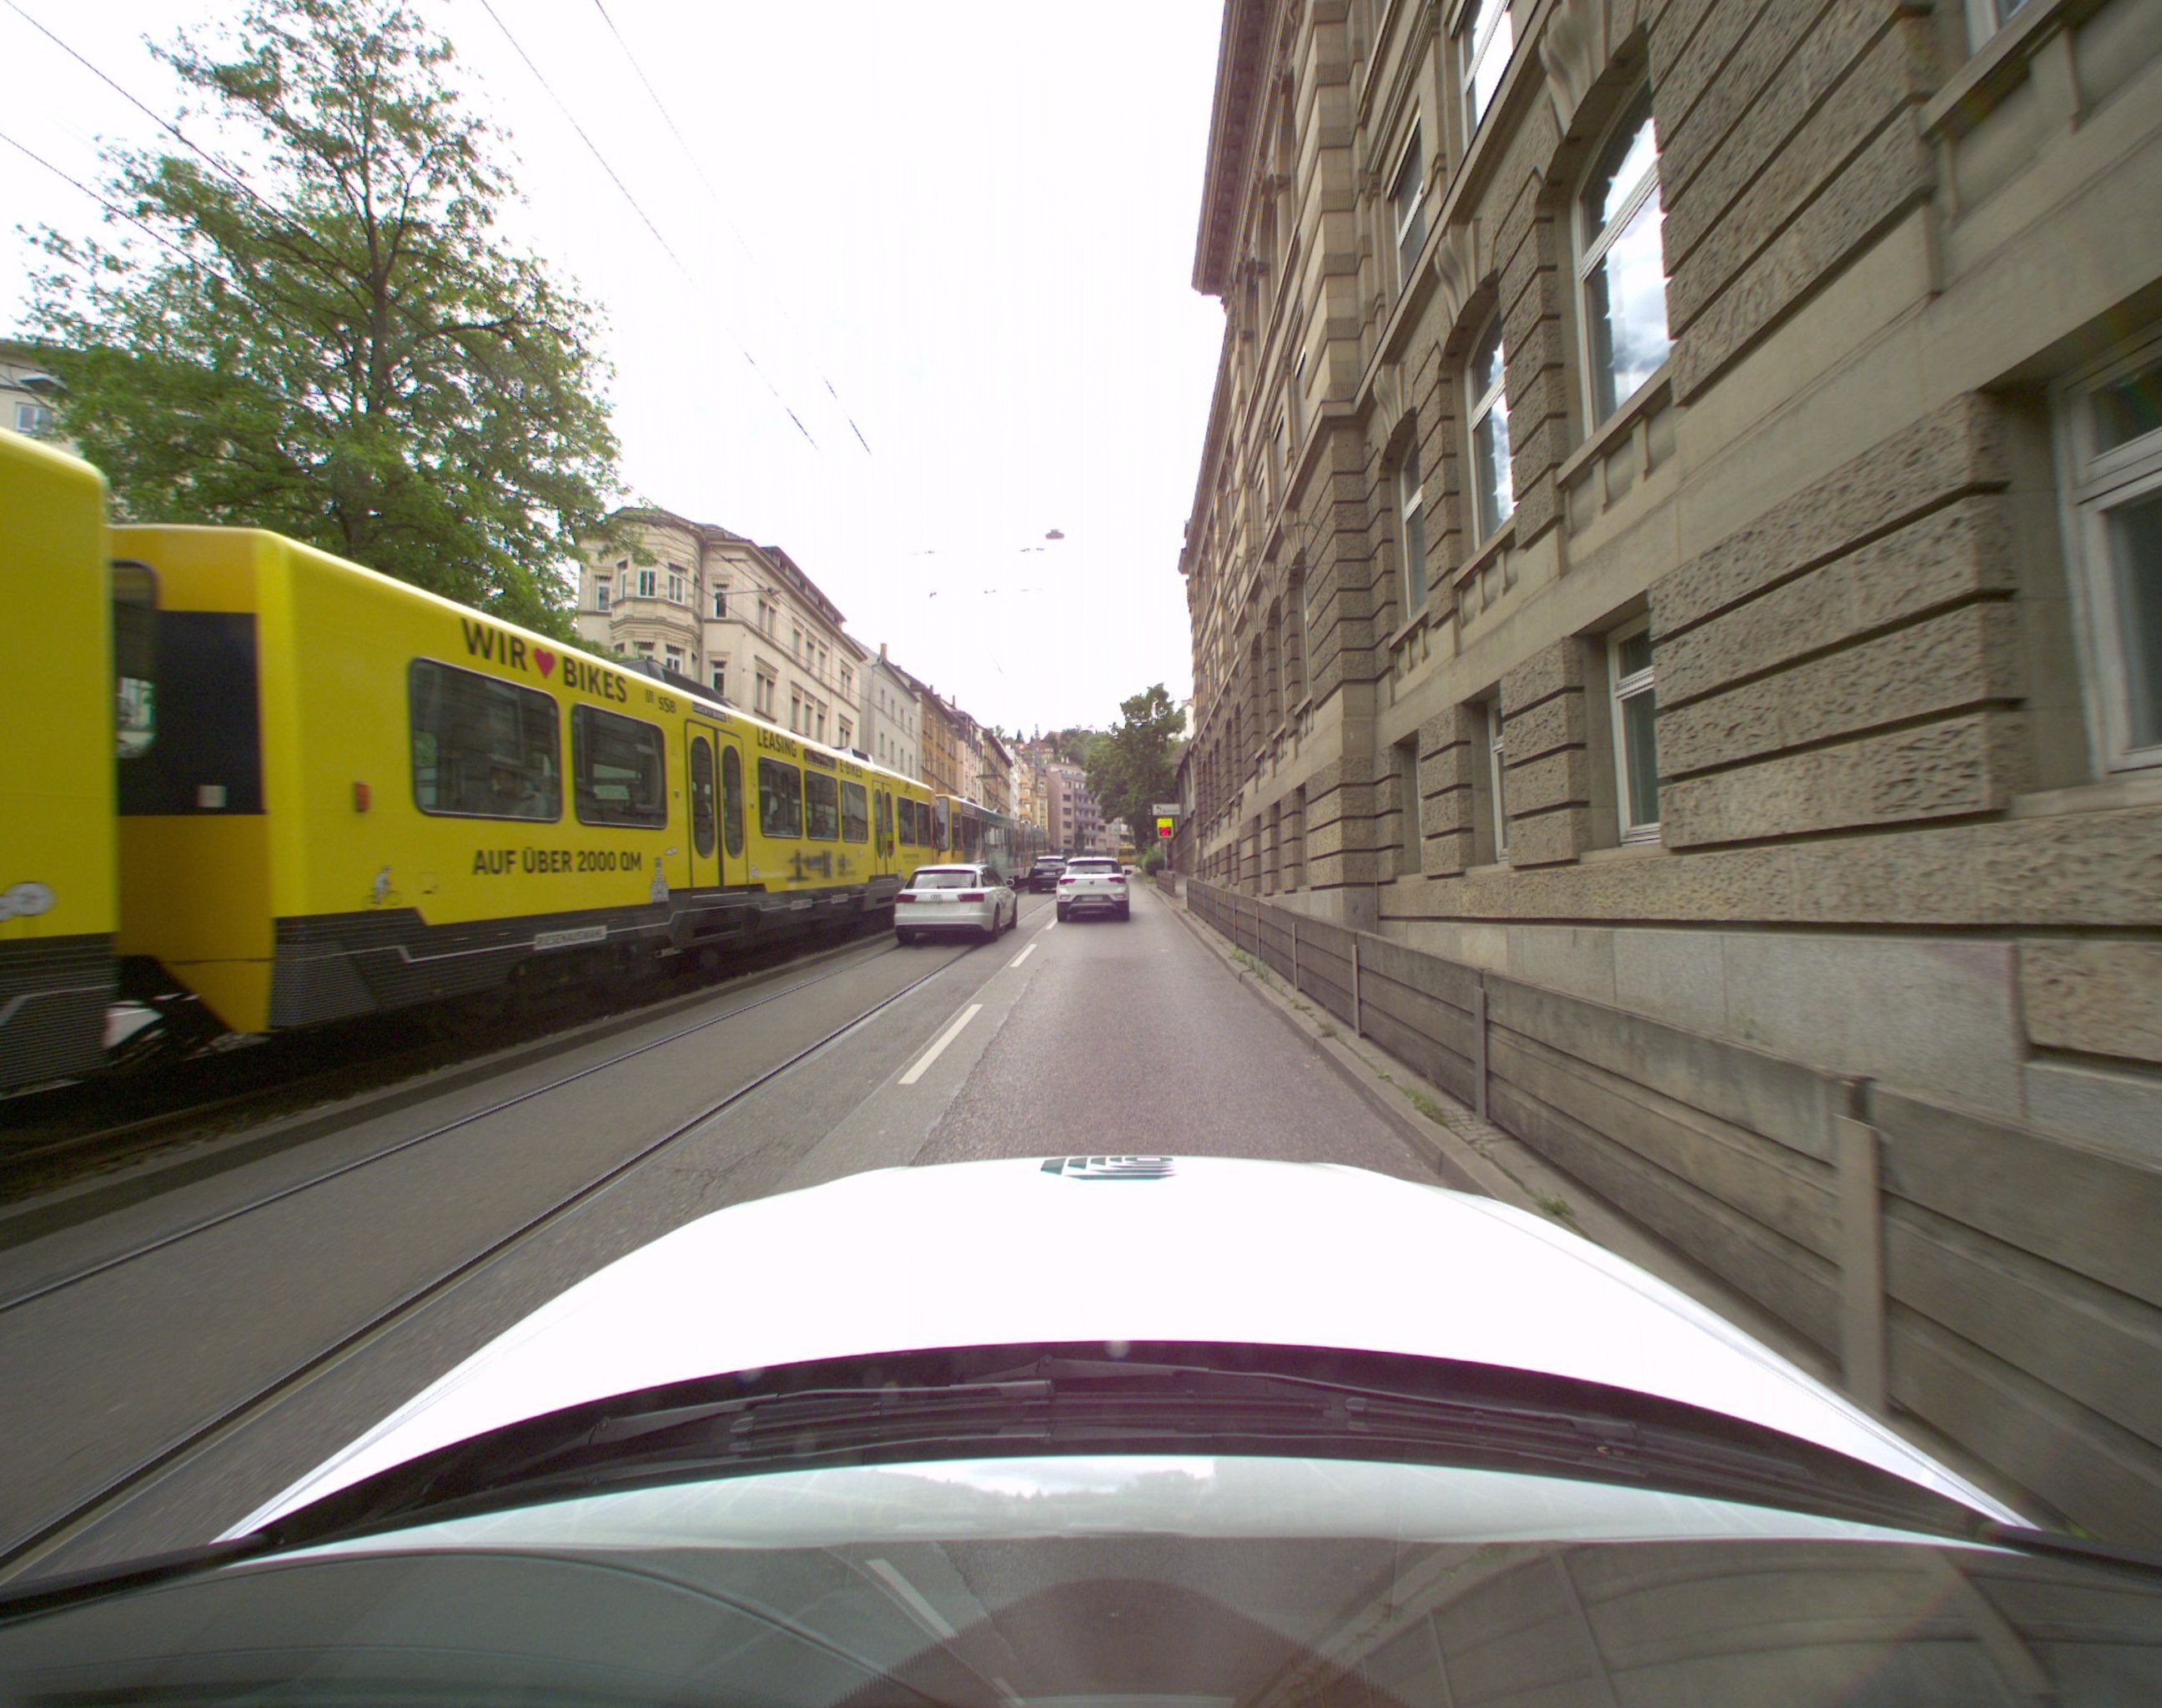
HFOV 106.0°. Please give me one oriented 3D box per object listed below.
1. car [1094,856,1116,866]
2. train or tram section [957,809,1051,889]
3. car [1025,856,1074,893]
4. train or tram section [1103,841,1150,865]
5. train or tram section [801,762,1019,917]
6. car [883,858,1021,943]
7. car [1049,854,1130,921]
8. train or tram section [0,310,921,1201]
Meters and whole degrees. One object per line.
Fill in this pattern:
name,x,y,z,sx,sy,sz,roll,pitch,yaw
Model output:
car,5.069,1.458,171.214,1.974,2.035,4.731,-1,-1,41
train or tram section,-3.995,-0.197,47.799,2.865,3.726,18.767,1,0,3
car,-1.385,0.879,37.529,2.031,1.571,4.358,-1,0,0
train or tram section,8.736,-0.138,152.110,2.991,4.214,18.955,-1,0,21
train or tram section,-4.852,-0.317,29.050,2.864,3.726,18.769,1,0,3
car,-2.414,0.831,16.404,1.872,1.455,4.619,-1,-1,2
car,0.299,0.792,21.046,1.871,1.554,4.003,-1,0,3
train or tram section,-5.685,-0.392,10.269,2.865,3.726,18.712,1,0,2
